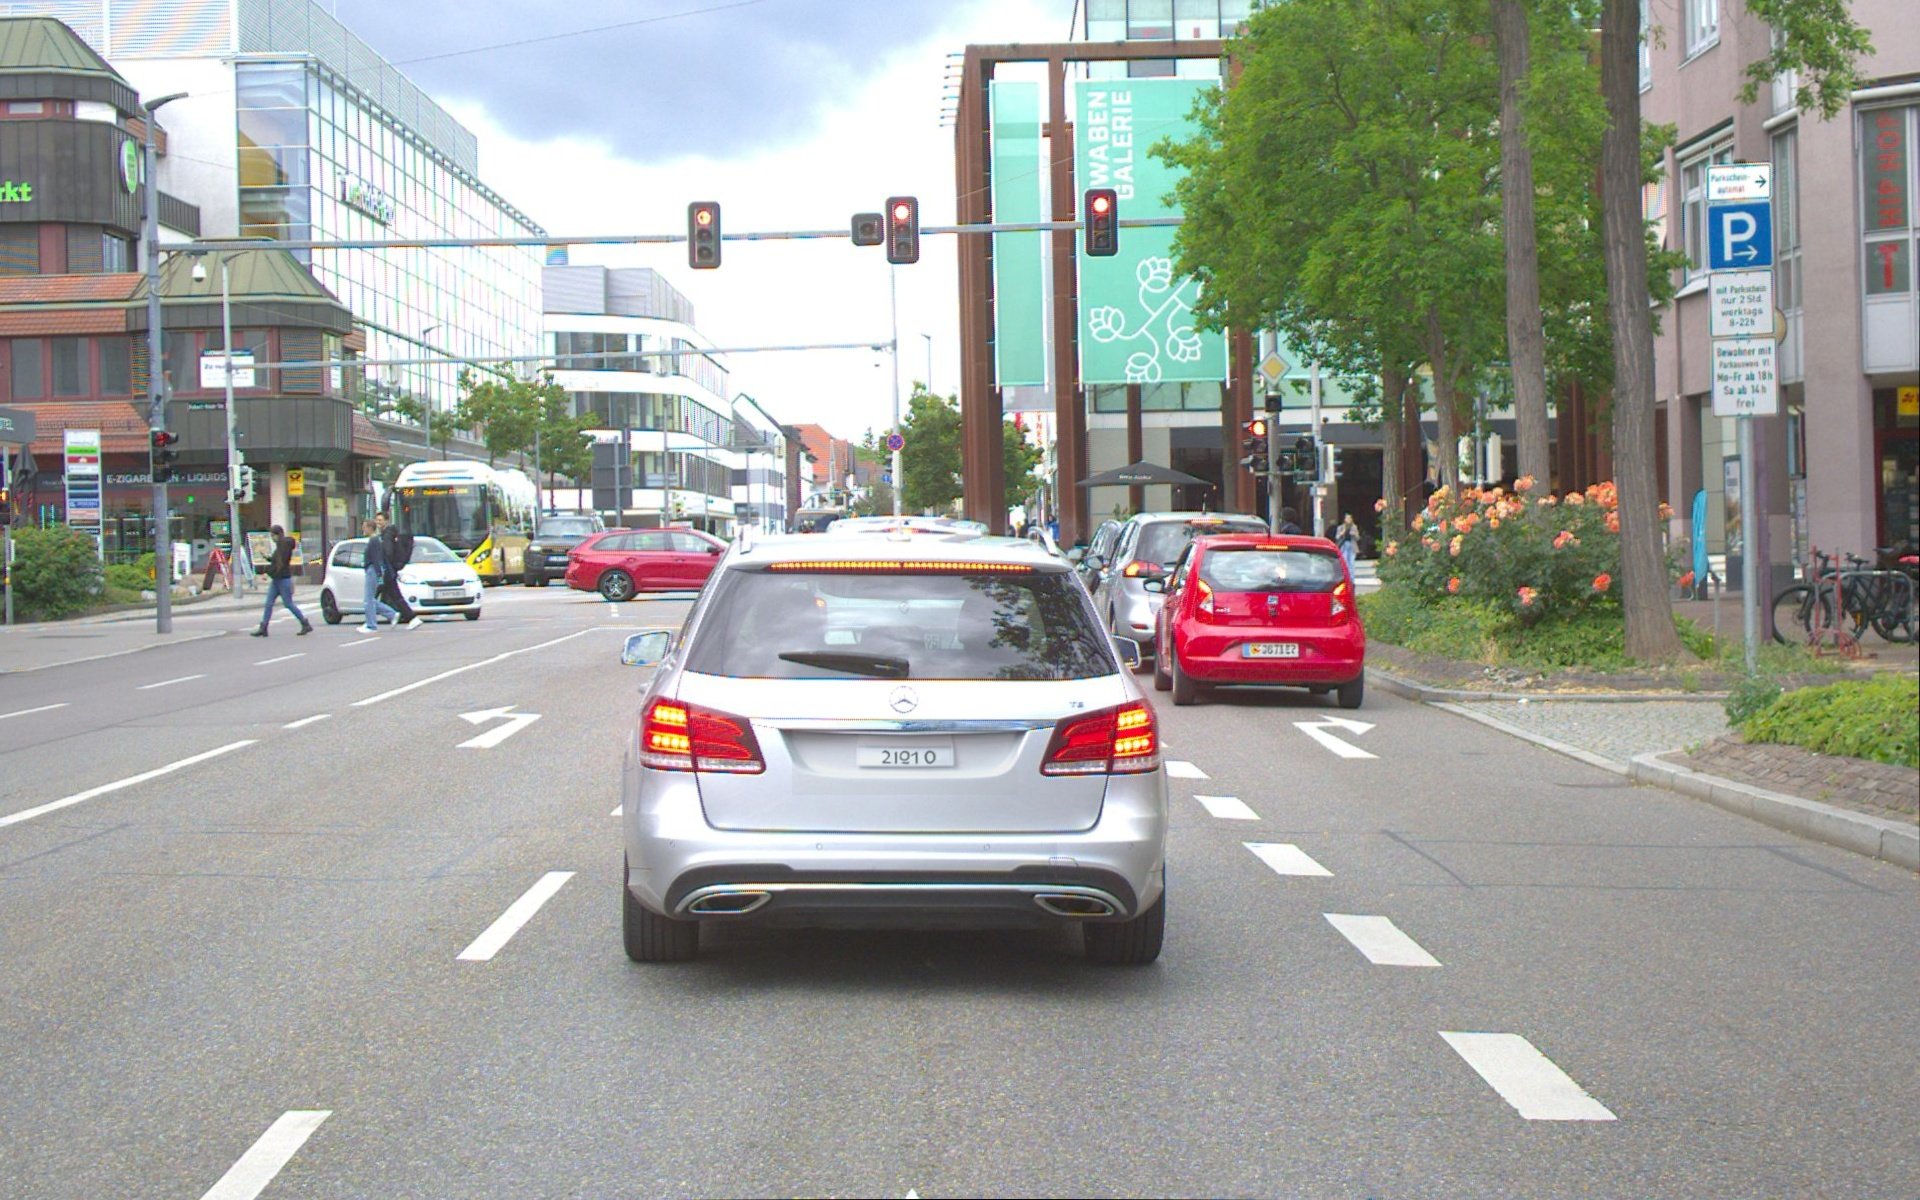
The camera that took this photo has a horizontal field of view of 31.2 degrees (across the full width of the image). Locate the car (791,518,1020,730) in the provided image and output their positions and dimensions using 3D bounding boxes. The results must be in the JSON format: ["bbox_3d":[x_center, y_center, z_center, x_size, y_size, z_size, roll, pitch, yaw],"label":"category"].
[{"bbox_3d":[-0.412,0.133,26.561,1.640,1.522,3.394,0,1,-1],"label":"car"}]

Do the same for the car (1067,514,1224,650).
[{"bbox_3d":[2.265,-0.258,42.759,1.586,1.589,3.868,1,1,-2],"label":"car"}]

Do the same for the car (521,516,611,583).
[{"bbox_3d":[-10.380,-1.349,90.828,1.993,1.700,4.065,0,1,-2],"label":"car"}]

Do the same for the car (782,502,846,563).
[{"bbox_3d":[-4.713,-2.200,111.676,1.993,1.942,4.951,0,1,-2],"label":"car"}]

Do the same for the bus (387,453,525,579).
[{"bbox_3d":[-13.624,-2.275,93.540,2.686,3.250,8.654,0,1,-2],"label":"bus"}]

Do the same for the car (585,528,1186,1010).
[{"bbox_3d":[-0.240,0.481,12.746,1.815,1.443,4.370,1,1,0],"label":"car"}]

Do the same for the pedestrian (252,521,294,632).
[{"bbox_3d":[-10.263,-0.360,51.360,0.557,1.645,0.654,-1,1,-14],"label":"pedestrian"}]

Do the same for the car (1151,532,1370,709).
[{"bbox_3d":[2.587,0.136,30.230,1.586,1.438,3.348,1,1,0],"label":"car"}]

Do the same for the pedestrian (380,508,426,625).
[{"bbox_3d":[-8.503,-0.514,52.512,0.644,1.769,0.570,-1,1,-11],"label":"pedestrian"}]

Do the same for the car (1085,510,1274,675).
[{"bbox_3d":[2.265,-0.118,36.301,1.586,1.628,3.917,1,1,-2],"label":"car"}]

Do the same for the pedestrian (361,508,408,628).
[{"bbox_3d":[-8.619,-0.483,51.460,0.646,1.784,0.684,-1,1,-11],"label":"pedestrian"}]

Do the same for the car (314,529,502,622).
[{"bbox_3d":[-9.335,-0.405,57.999,1.574,1.483,3.463,-3,2,-39],"label":"car"}]

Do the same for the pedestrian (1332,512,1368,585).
[{"bbox_3d":[8.946,-1.182,78.845,0.651,1.645,0.559,-1,1,-15],"label":"pedestrian"}]

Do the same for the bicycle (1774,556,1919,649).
[{"bbox_3d":[10.041,0.024,38.147,1.901,0.994,0.468,-1,1,4],"label":"bicycle"}]

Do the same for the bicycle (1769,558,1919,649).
[{"bbox_3d":[10.046,0.033,38.694,1.769,0.994,0.447,-1,1,4],"label":"bicycle"}]

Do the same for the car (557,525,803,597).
[{"bbox_3d":[-5.555,-0.780,68.721,4.715,1.365,1.964,-1,1,1],"label":"car"}]
